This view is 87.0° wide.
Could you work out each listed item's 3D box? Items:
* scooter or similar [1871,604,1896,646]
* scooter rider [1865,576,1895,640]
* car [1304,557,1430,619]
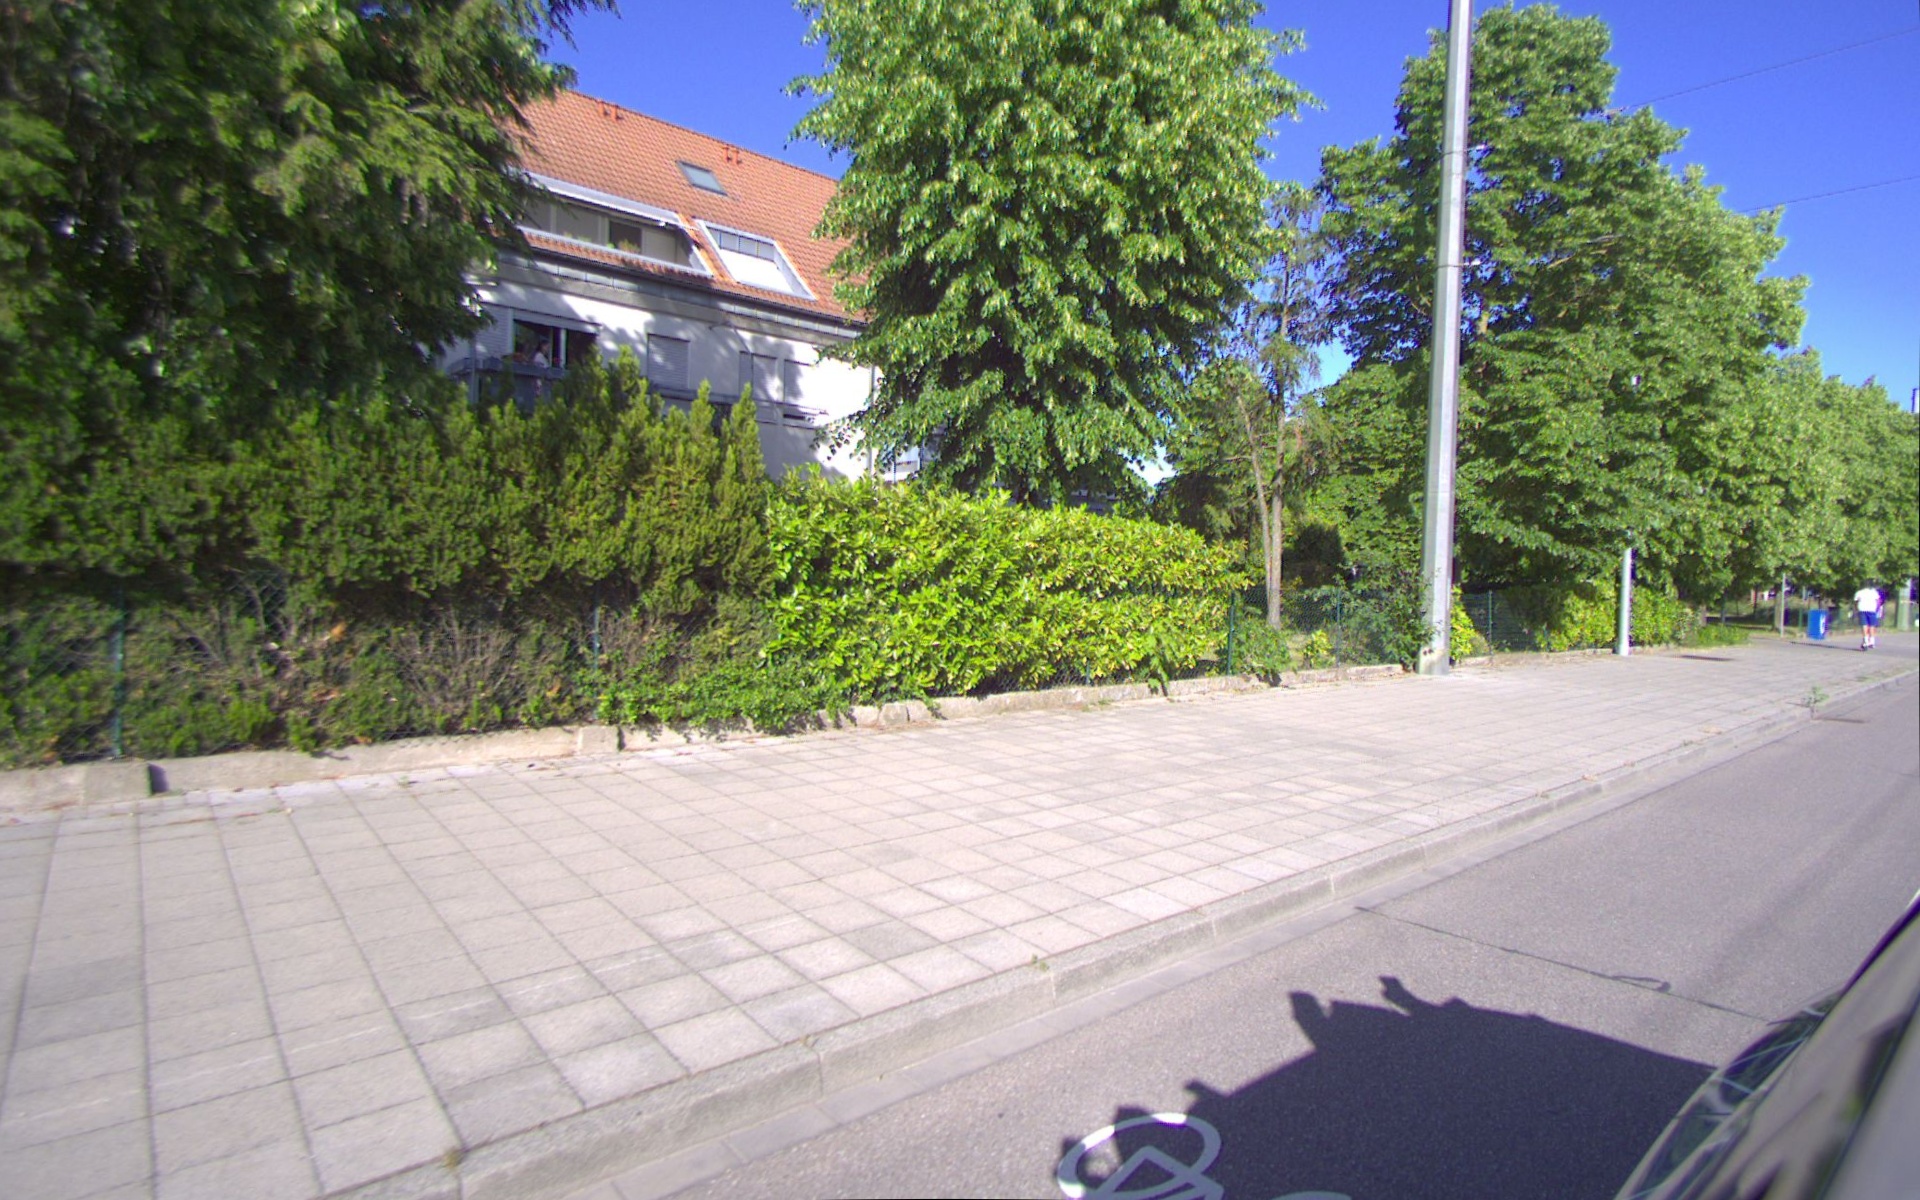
[{"bbox_3d":[25.994,0.685,28.478,1.187,1.151,0.349,0,2,-42],"label":"scooter or similar"},{"bbox_3d":[25.994,0.225,28.591,0.588,1.789,0.551,1,0,-42],"label":"scooter rider"},{"bbox_3d":[14.104,-0.409,34.927,4.870,1.962,1.878,0,2,-39],"label":"car"}]
